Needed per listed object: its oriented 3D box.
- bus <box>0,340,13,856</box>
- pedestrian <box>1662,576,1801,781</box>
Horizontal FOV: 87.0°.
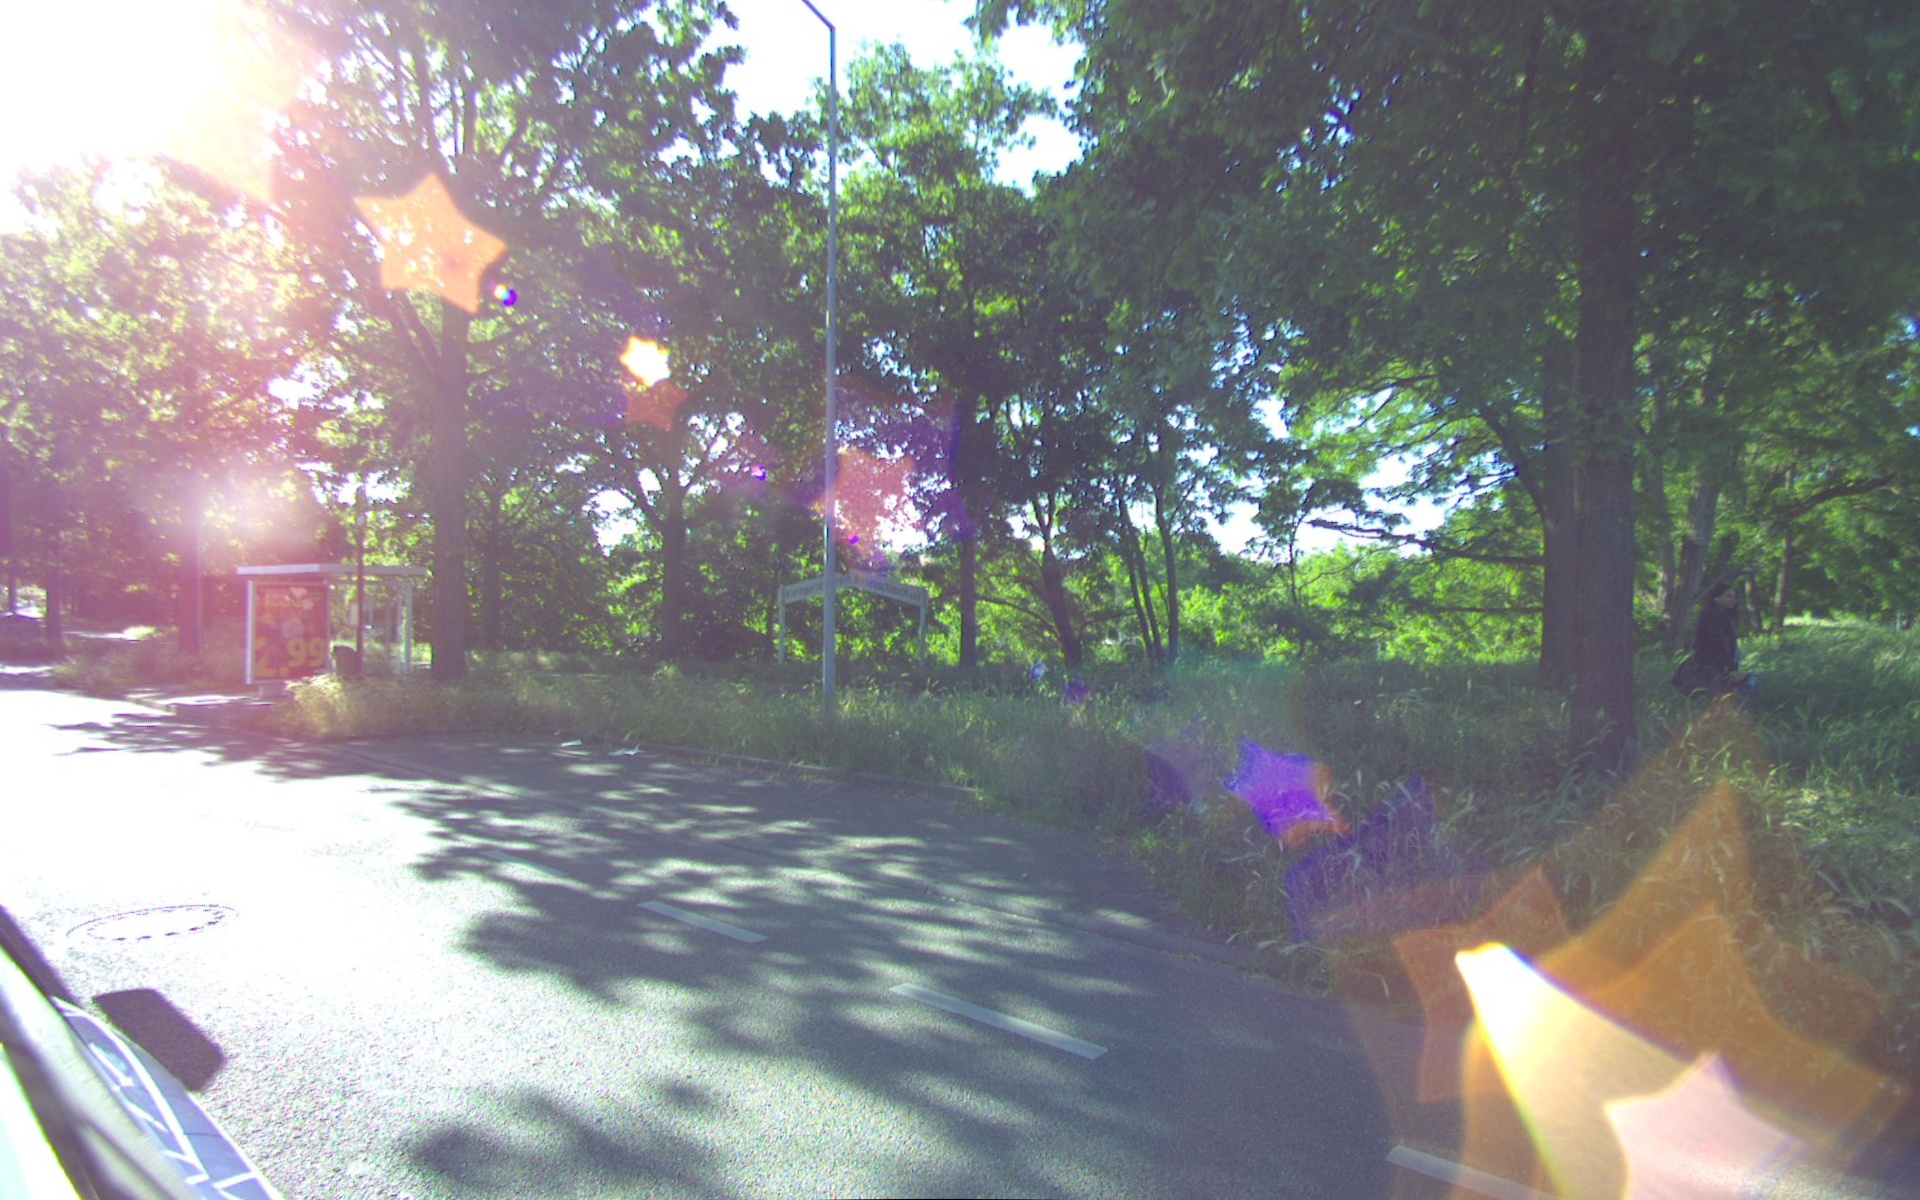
[{"bbox_3d":[-11.359,0.132,8.992,12.883,3.005,2.755,-2,-1,40],"label":"bus"},{"bbox_3d":[6.893,0.655,9.039,0.891,1.701,0.903,-2,-1,42],"label":"pedestrian"}]
